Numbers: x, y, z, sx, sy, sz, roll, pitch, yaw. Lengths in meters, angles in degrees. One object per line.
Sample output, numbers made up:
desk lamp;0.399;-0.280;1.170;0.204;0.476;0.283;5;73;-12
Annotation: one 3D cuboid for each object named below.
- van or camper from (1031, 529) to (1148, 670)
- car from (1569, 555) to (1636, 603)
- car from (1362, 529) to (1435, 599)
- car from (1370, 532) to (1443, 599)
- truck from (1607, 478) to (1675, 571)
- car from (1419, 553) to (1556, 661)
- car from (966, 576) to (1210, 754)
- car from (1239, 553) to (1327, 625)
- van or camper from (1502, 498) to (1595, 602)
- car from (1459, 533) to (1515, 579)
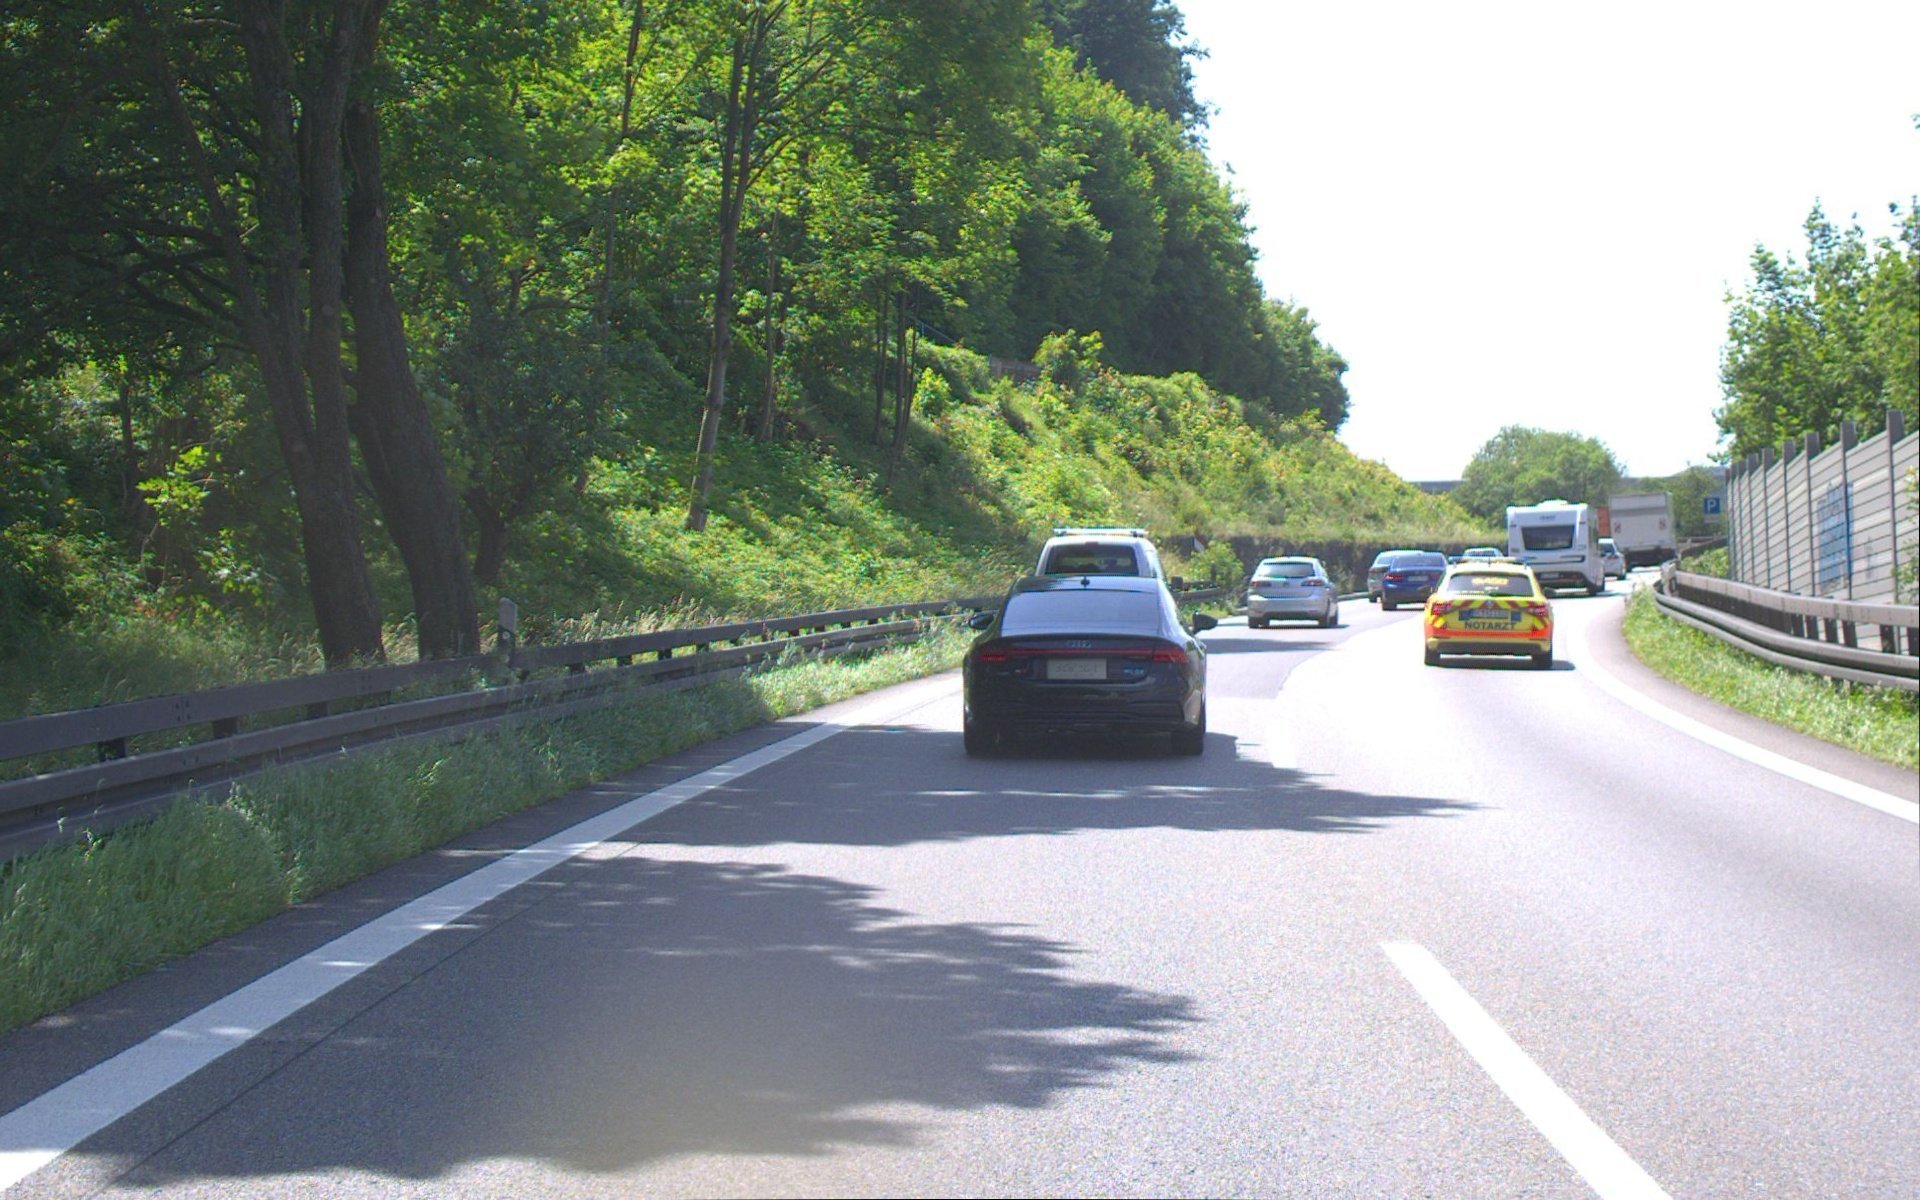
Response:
van or camper;1.774;-0.008;46.088;1.392;1.810;3.999;0;0;5
car;23.931;-0.796;128.005;1.995;1.711;3.997;0;1;17
car;12.883;-1.062;100.899;1.994;2.007;3.999;0;1;9
car;11.270;-0.849;86.812;1.774;1.631;3.999;0;0;7
truck;30.704;-3.384;154.920;2.734;4.082;7.475;-1;1;13
car;7.606;0.096;49.399;1.863;1.483;3.998;0;0;10
car;1.089;0.492;27.946;1.838;1.345;3.999;0;0;4
car;6.631;-0.213;70.591;1.747;1.426;3.999;0;0;6
van or camper;17.084;-1.407;99.541;2.457;2.908;6.123;0;0;11
car;20.158;-1.679;131.403;1.842;1.711;3.998;-1;1;13
